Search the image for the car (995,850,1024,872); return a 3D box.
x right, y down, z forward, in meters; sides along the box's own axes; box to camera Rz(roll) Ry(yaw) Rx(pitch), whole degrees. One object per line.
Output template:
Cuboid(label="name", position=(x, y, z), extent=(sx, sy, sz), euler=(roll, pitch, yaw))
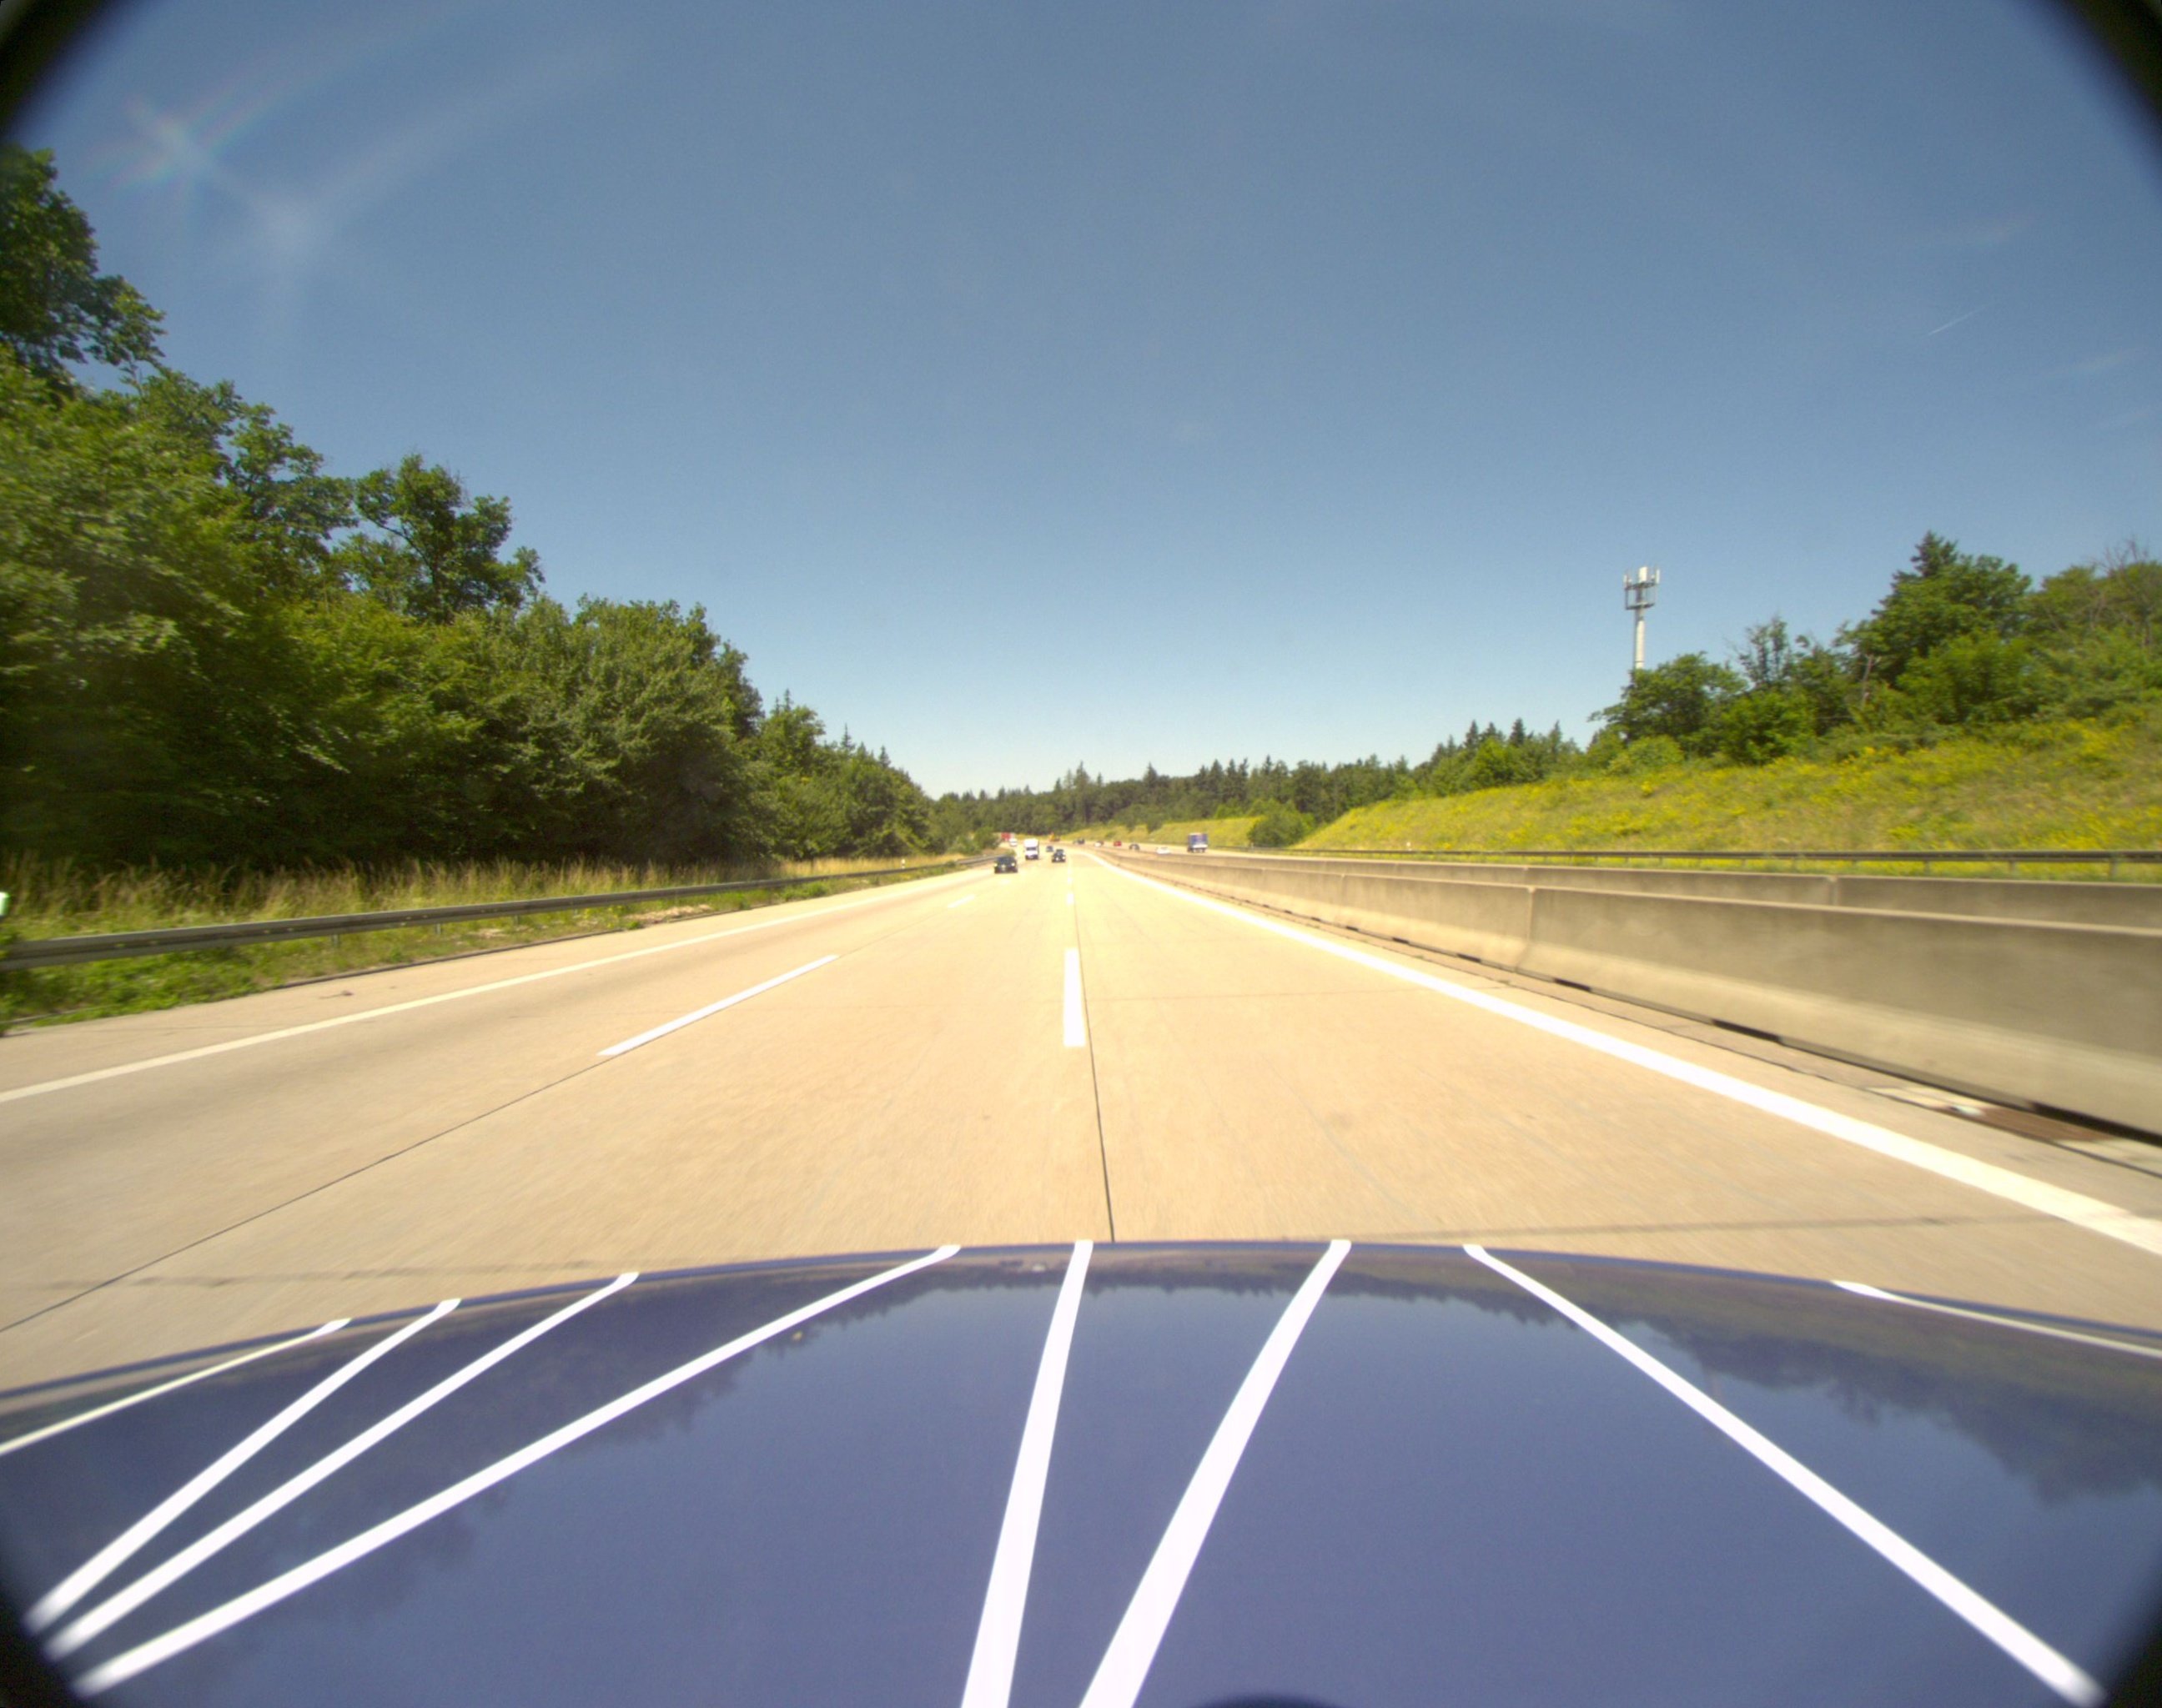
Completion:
Cuboid(label="car", position=(-6.065, 0.555, 64.825), extent=(1.931, 1.694, 4.399), euler=(-2, 1, 1))

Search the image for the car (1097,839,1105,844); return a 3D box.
Cuboid(label="car", position=(6.112, -3.765, 230.691), extent=(1.999, 1.595, 4.410), euler=(-2, 1, -2))

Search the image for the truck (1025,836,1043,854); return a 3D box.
Cuboid(label="truck", position=(-7.651, -1.439, 124.497), extent=(2.483, 2.780, 5.914), euler=(-2, 1, 1))

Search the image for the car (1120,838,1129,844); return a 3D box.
Cuboid(label="car", position=(11.662, -3.503, 205.379), extent=(1.999, 1.595, 4.410), euler=(-2, 1, -2))

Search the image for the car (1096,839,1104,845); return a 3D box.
Cuboid(label="car", position=(5.449, -3.497, 219.779), extent=(1.999, 1.595, 4.410), euler=(-2, 1, -2))

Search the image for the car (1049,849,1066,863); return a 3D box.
Cuboid(label="car", position=(-3.181, 0.244, 102.424), extent=(1.998, 1.694, 4.399), euler=(-2, 1, 1))

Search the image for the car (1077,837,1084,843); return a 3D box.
Cuboid(label="car", position=(-0.091, -4.278, 234.141), extent=(1.999, 1.595, 4.410), euler=(-2, 1, -2))

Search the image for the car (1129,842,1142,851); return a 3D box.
Cuboid(label="car", position=(10.587, -1.481, 148.758), extent=(1.999, 1.595, 4.657), euler=(-2, 1, -2))

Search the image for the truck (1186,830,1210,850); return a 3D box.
Cuboid(label="truck", position=(18.836, -2.259, 122.627), extent=(2.568, 2.972, 7.833), euler=(-2, 1, -1))

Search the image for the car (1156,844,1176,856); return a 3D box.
Cuboid(label="car", position=(11.870, -0.598, 106.121), extent=(1.999, 1.595, 4.410), euler=(-2, 1, -2))
